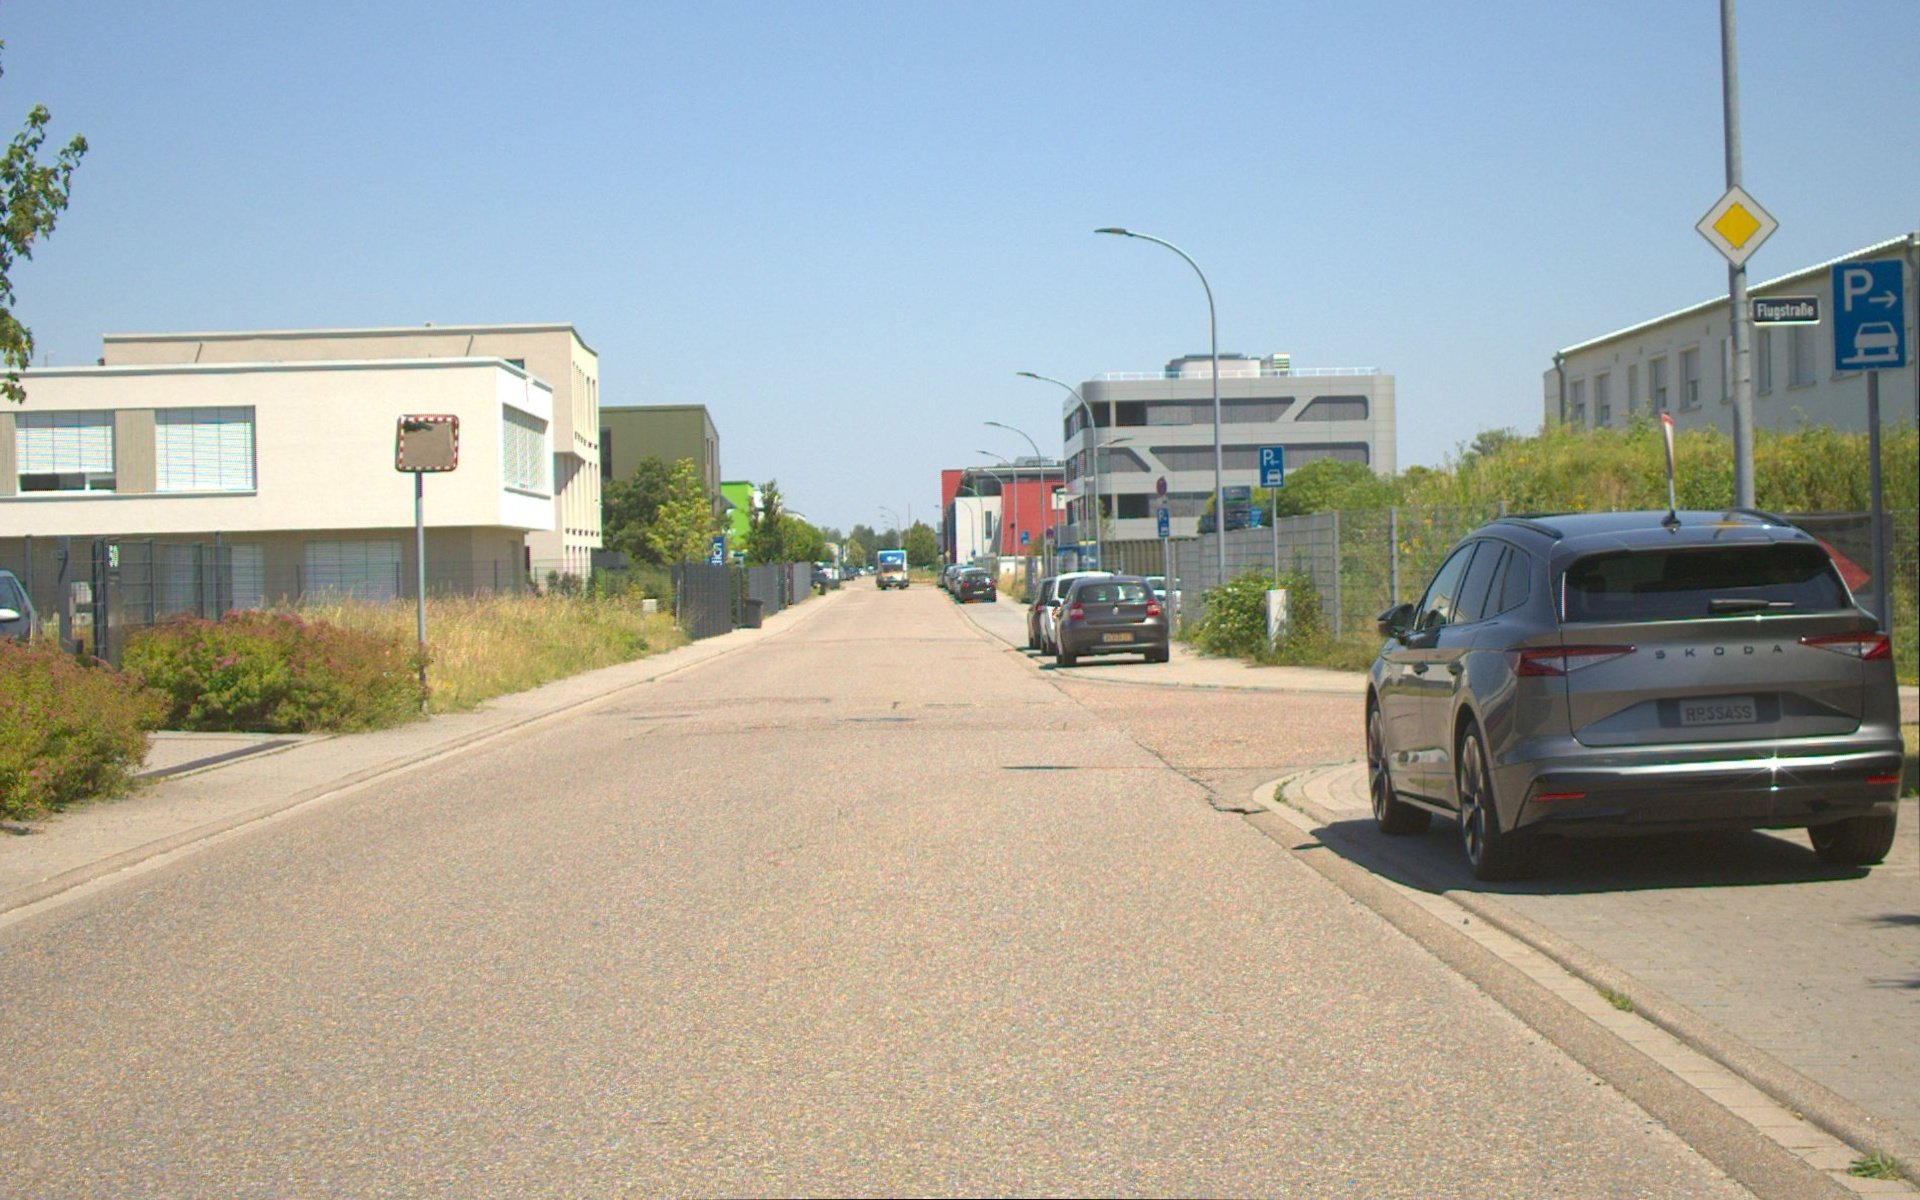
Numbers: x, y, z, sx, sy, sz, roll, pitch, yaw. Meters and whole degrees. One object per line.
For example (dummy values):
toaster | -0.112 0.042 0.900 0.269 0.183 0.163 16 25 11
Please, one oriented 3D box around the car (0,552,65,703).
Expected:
car | -10.540 0.278 35.935 1.700 1.515 2.998 -2 1 -3

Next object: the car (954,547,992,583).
car | 0.624 -1.690 166.570 1.776 1.722 4.000 0 1 -1

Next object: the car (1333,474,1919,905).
car | 3.052 0.324 16.428 1.803 1.656 4.609 -4 1 -2

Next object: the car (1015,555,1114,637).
car | 2.170 -0.111 71.212 1.908 1.541 4.000 -3 1 2

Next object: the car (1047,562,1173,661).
car | 2.411 0.156 55.840 1.908 1.443 4.000 -3 1 2

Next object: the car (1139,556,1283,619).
car | 8.207 -0.424 112.832 4.625 2.007 2.606 0 1 3

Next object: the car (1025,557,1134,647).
car | 2.249 0.008 64.775 1.908 1.541 4.000 -3 1 2
